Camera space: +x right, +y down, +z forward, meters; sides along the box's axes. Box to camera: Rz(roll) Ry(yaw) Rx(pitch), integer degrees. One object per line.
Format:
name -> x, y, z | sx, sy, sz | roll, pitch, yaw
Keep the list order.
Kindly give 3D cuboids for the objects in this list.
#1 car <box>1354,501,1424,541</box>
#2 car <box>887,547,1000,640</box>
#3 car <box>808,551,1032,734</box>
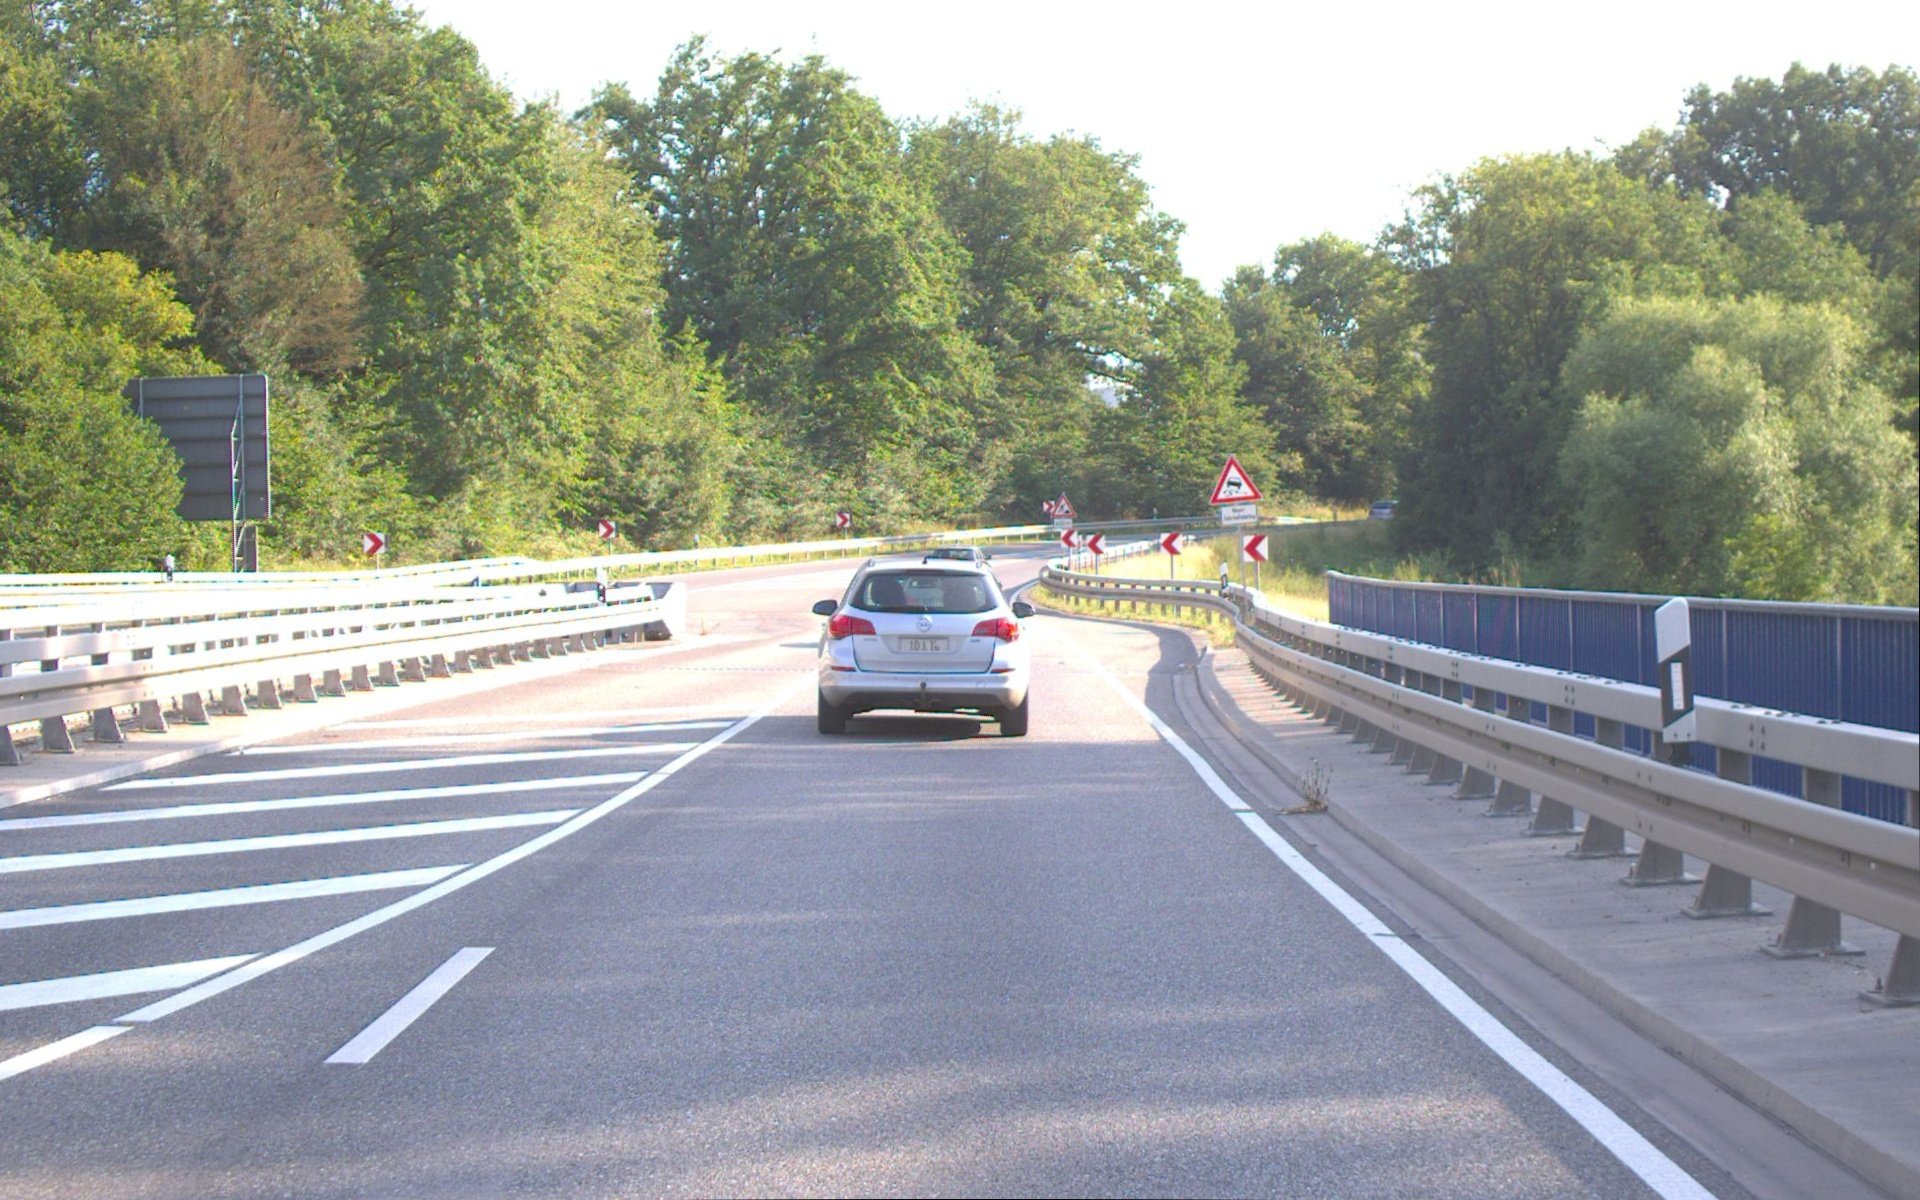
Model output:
car -> 22.564, -4.149, 180.655 | 1.997, 2.007, 3.992 | 0, 0, 35
car -> -0.306, -0.108, 57.113 | 1.809, 1.481, 4.000 | 0, 0, -1
car -> -0.367, 0.346, 30.005 | 1.809, 1.481, 4.000 | 0, 0, -1
